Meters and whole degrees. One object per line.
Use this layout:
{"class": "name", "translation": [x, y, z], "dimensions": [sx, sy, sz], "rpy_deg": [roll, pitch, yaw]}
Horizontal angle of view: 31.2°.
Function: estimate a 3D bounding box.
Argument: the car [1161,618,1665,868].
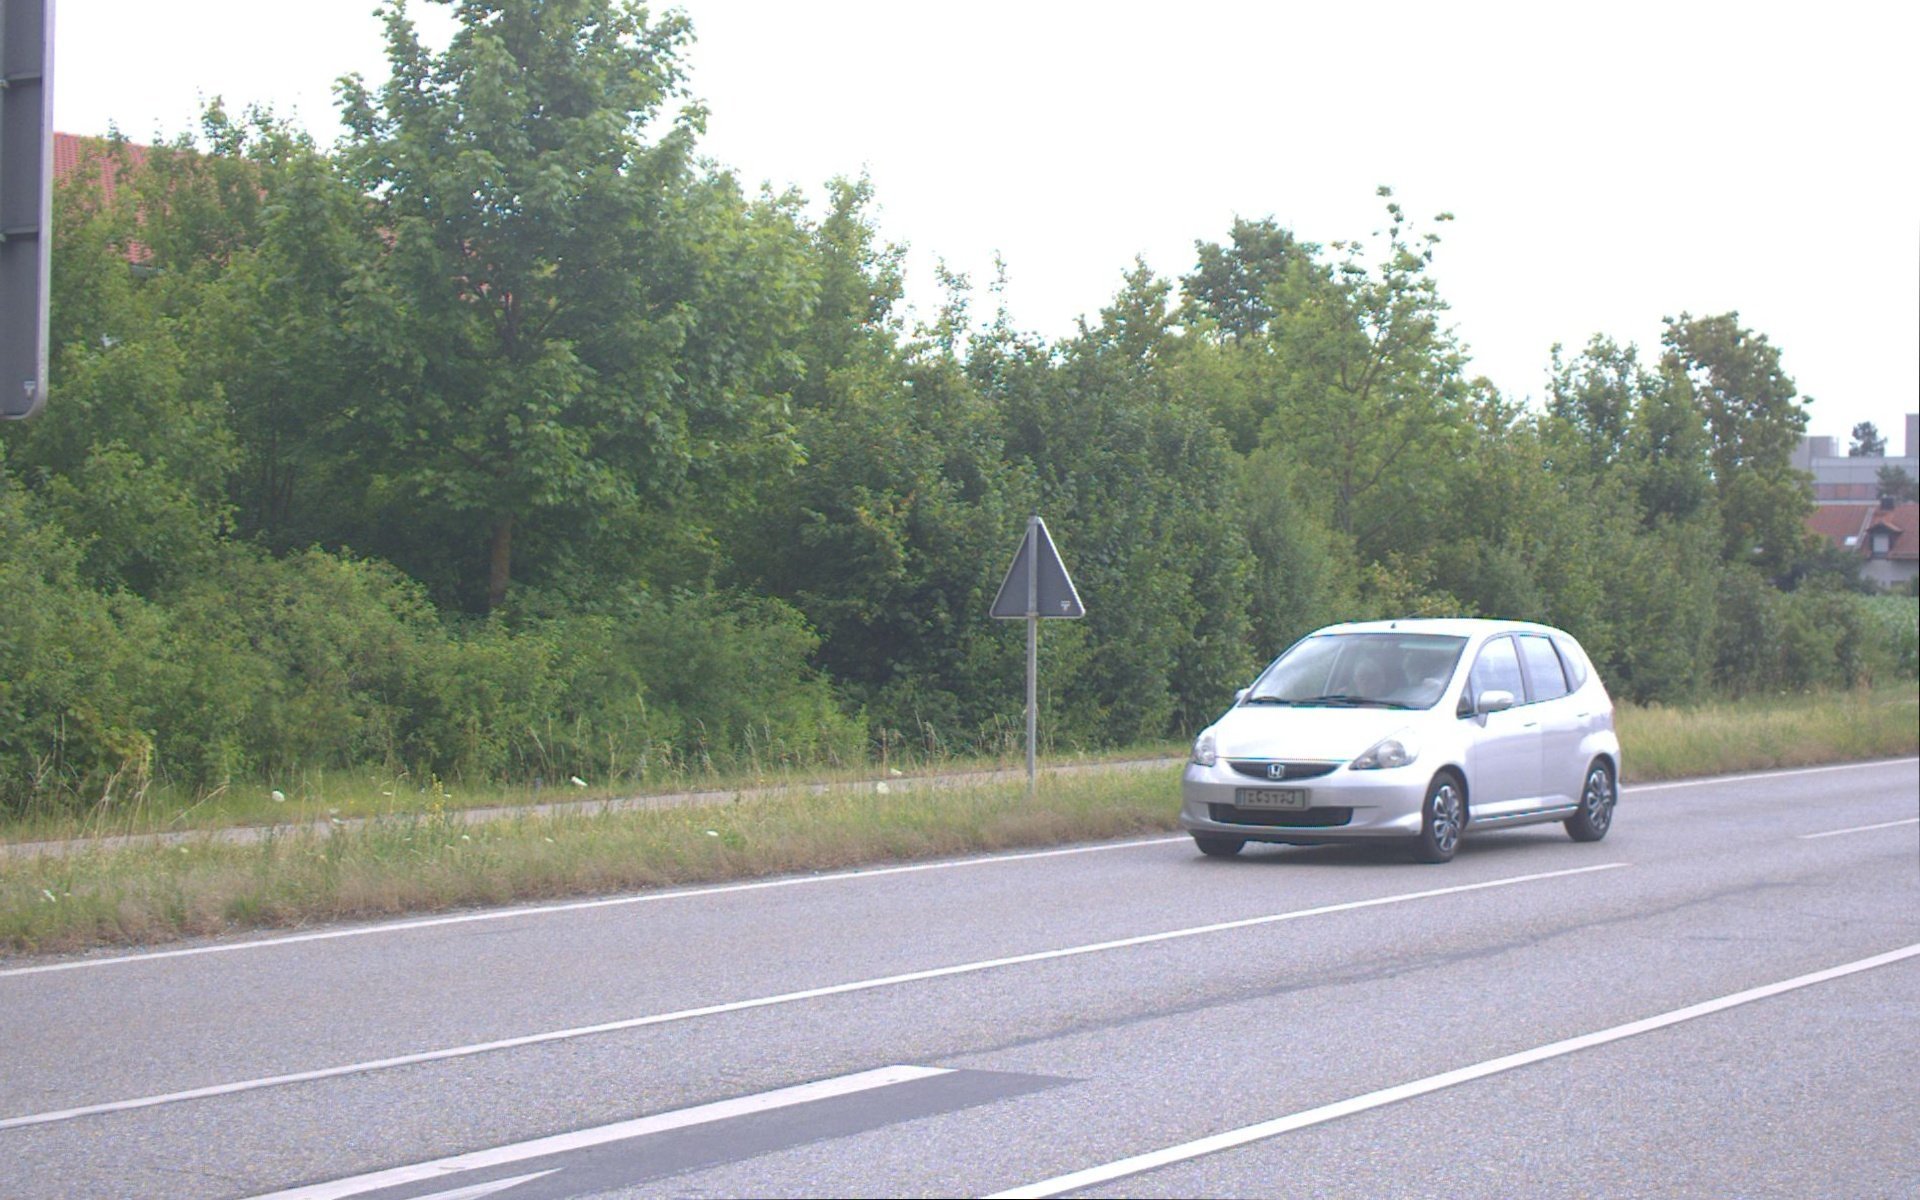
{"class": "car", "translation": [2.999, 0.847, 22.087], "dimensions": [1.733, 1.427, 3.927], "rpy_deg": [-1, 0, 32]}
